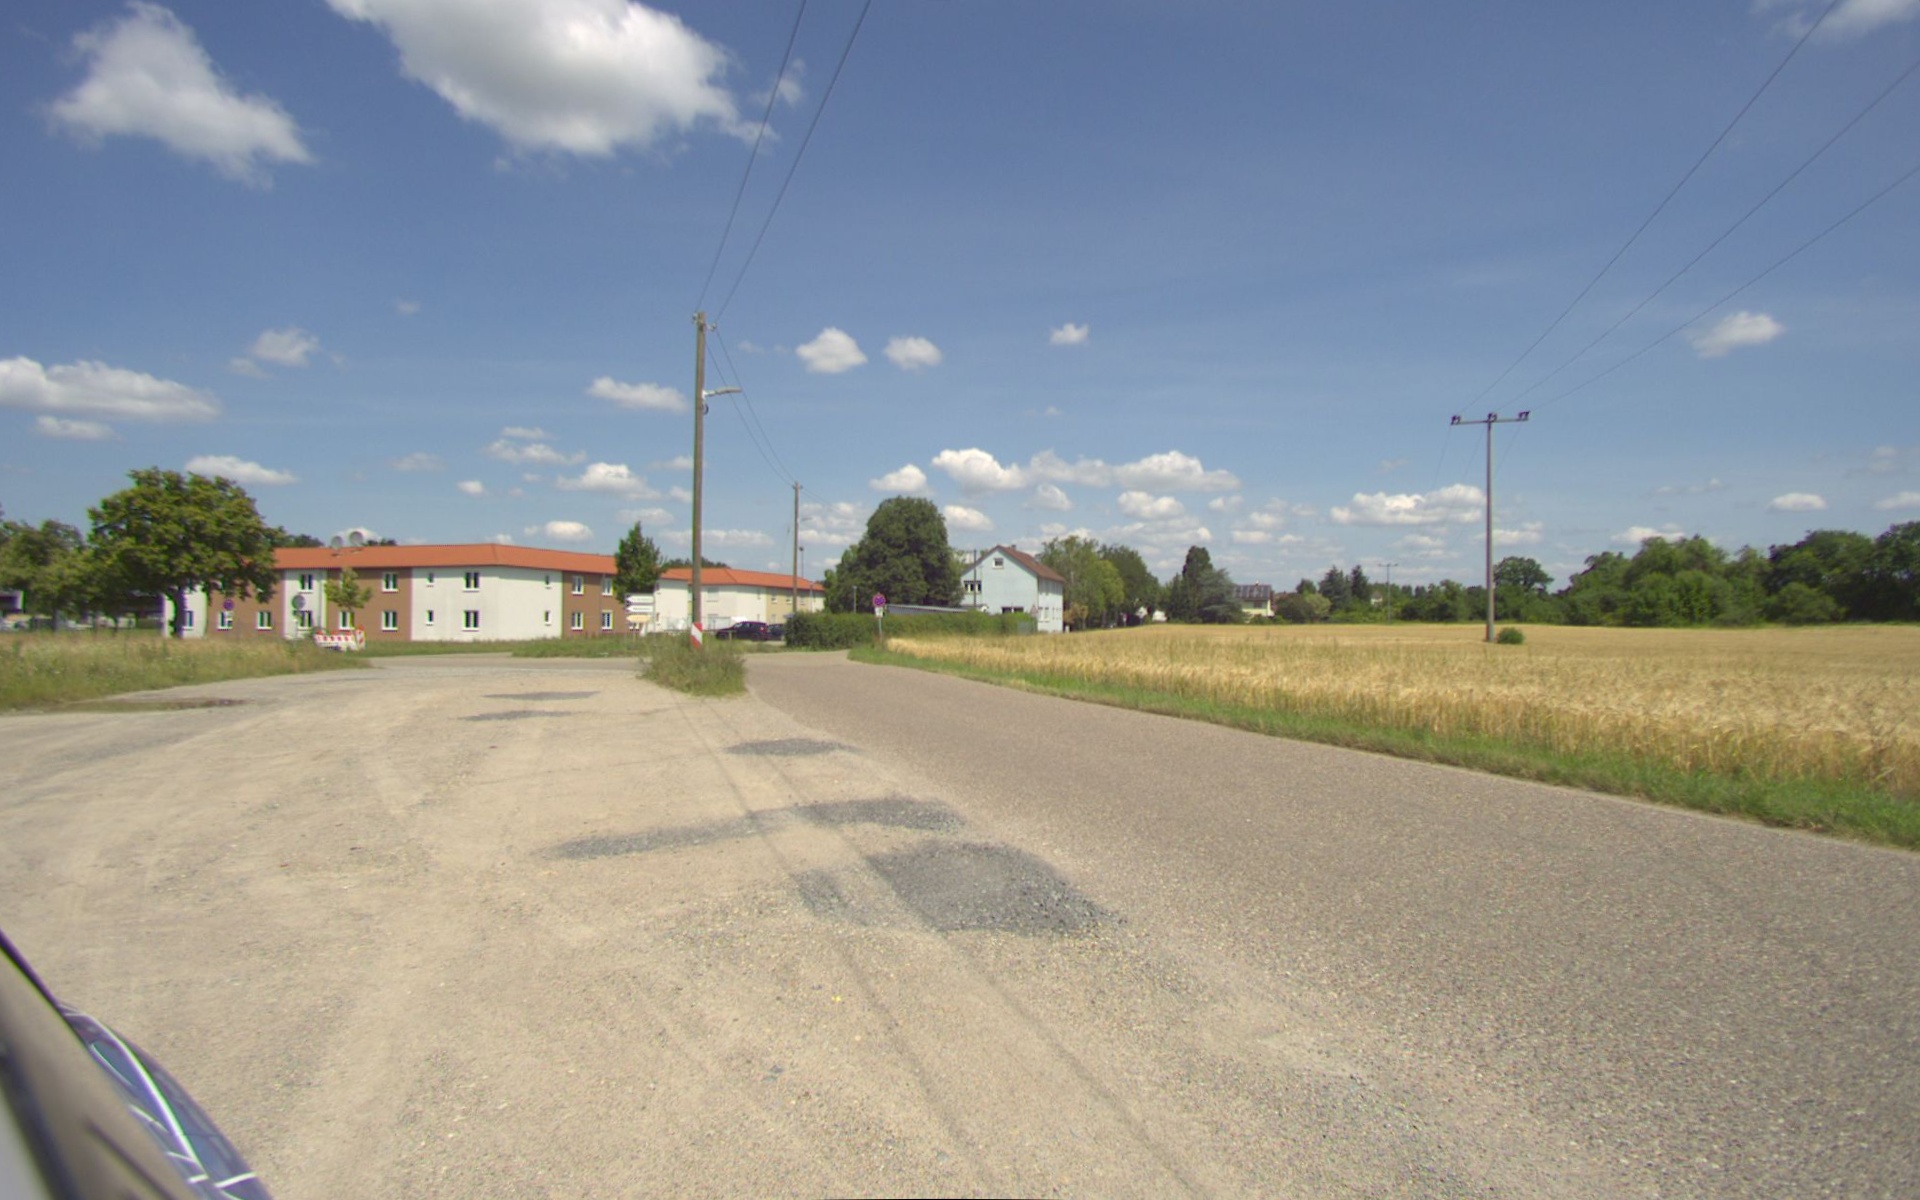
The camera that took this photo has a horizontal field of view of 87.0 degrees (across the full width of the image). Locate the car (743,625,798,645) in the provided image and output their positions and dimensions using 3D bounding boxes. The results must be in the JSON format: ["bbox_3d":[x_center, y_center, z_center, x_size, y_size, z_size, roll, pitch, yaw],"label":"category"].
[{"bbox_3d":[-15.876,2.901,84.805,4.109,1.627,1.990,0,-2,15],"label":"car"}]

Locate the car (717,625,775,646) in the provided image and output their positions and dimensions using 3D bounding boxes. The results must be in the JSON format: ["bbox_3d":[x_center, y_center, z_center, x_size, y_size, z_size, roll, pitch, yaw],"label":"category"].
[{"bbox_3d":[-17.152,2.828,81.097,4.109,1.627,1.990,0,-2,15],"label":"car"}]

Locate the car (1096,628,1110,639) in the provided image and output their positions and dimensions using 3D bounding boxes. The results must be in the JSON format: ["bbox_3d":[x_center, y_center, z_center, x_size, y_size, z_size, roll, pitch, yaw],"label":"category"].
[{"bbox_3d":[21.908,5.116,154.856,1.732,1.692,4.238,-1,-1,12],"label":"car"}]
